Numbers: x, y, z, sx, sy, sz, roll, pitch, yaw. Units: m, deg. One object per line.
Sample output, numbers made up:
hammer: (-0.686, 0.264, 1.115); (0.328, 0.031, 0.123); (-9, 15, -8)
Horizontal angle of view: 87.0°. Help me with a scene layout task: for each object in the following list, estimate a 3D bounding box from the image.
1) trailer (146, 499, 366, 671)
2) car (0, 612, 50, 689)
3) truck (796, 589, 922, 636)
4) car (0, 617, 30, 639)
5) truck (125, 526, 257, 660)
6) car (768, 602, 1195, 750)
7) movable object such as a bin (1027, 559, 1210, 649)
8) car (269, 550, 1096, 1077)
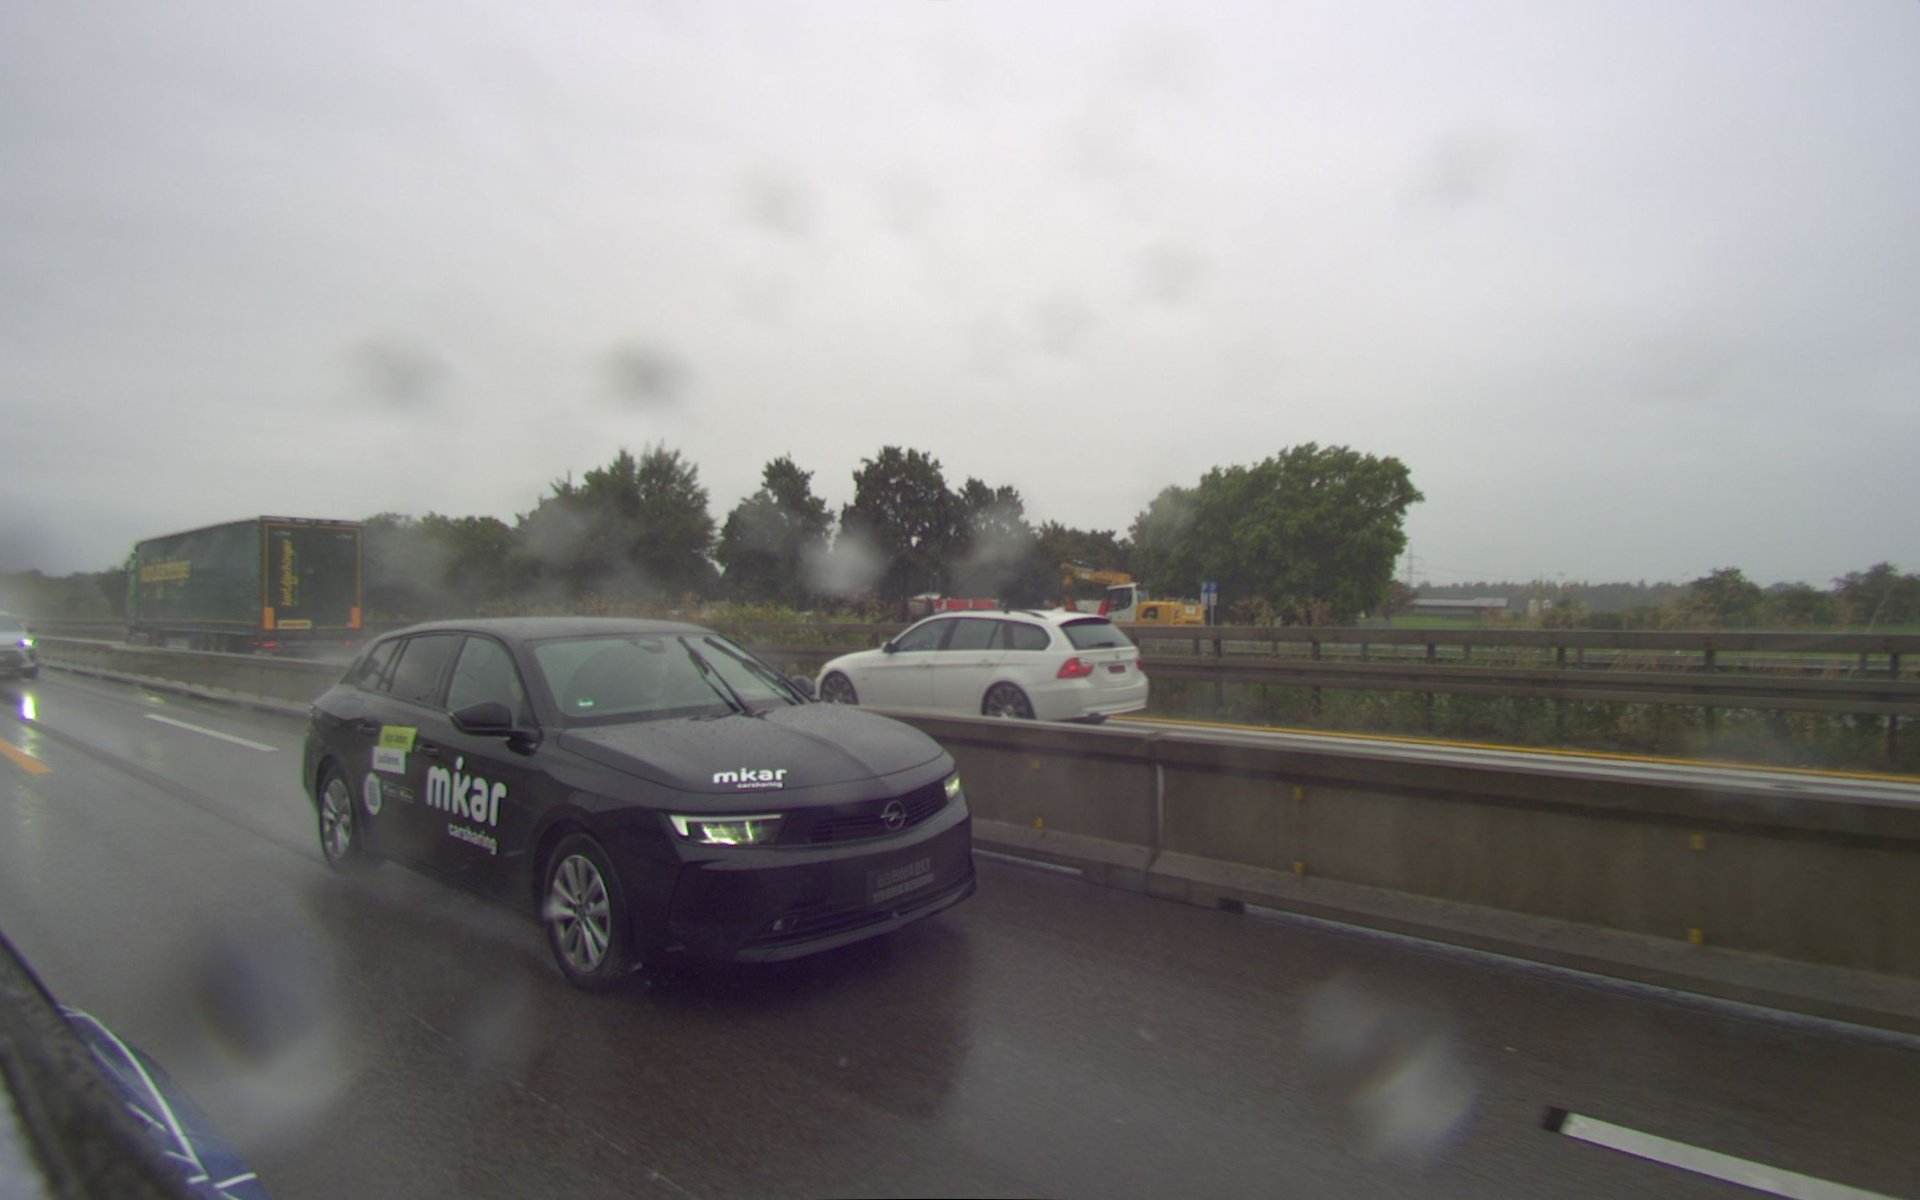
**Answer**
trailer: (-22.555, -0.312, 31.886); (13.546, 4.491, 2.554); (-1, -1, 41)
car: (-23.536, 1.169, 24.186); (3.994, 1.693, 1.948); (1, 1, 37)
truck: (-6.451, 0.781, 63.150); (8.899, 2.724, 2.488); (-1, -1, 42)
car: (-64.404, 1.877, 68.549); (3.890, 1.446, 1.553); (-1, -1, 40)
truck: (-27.793, -0.180, 36.473); (6.286, 4.422, 2.581); (-1, -1, 41)
car: (0.018, 0.791, 12.460); (5.434, 1.448, 1.710); (-1, 0, 41)
movable object such as a bin: (7.421, 0.124, 48.345); (8.458, 3.949, 2.701); (1, 1, 41)
car: (-1.828, 0.649, 5.296); (4.795, 1.539, 1.918); (-1, 0, 43)
